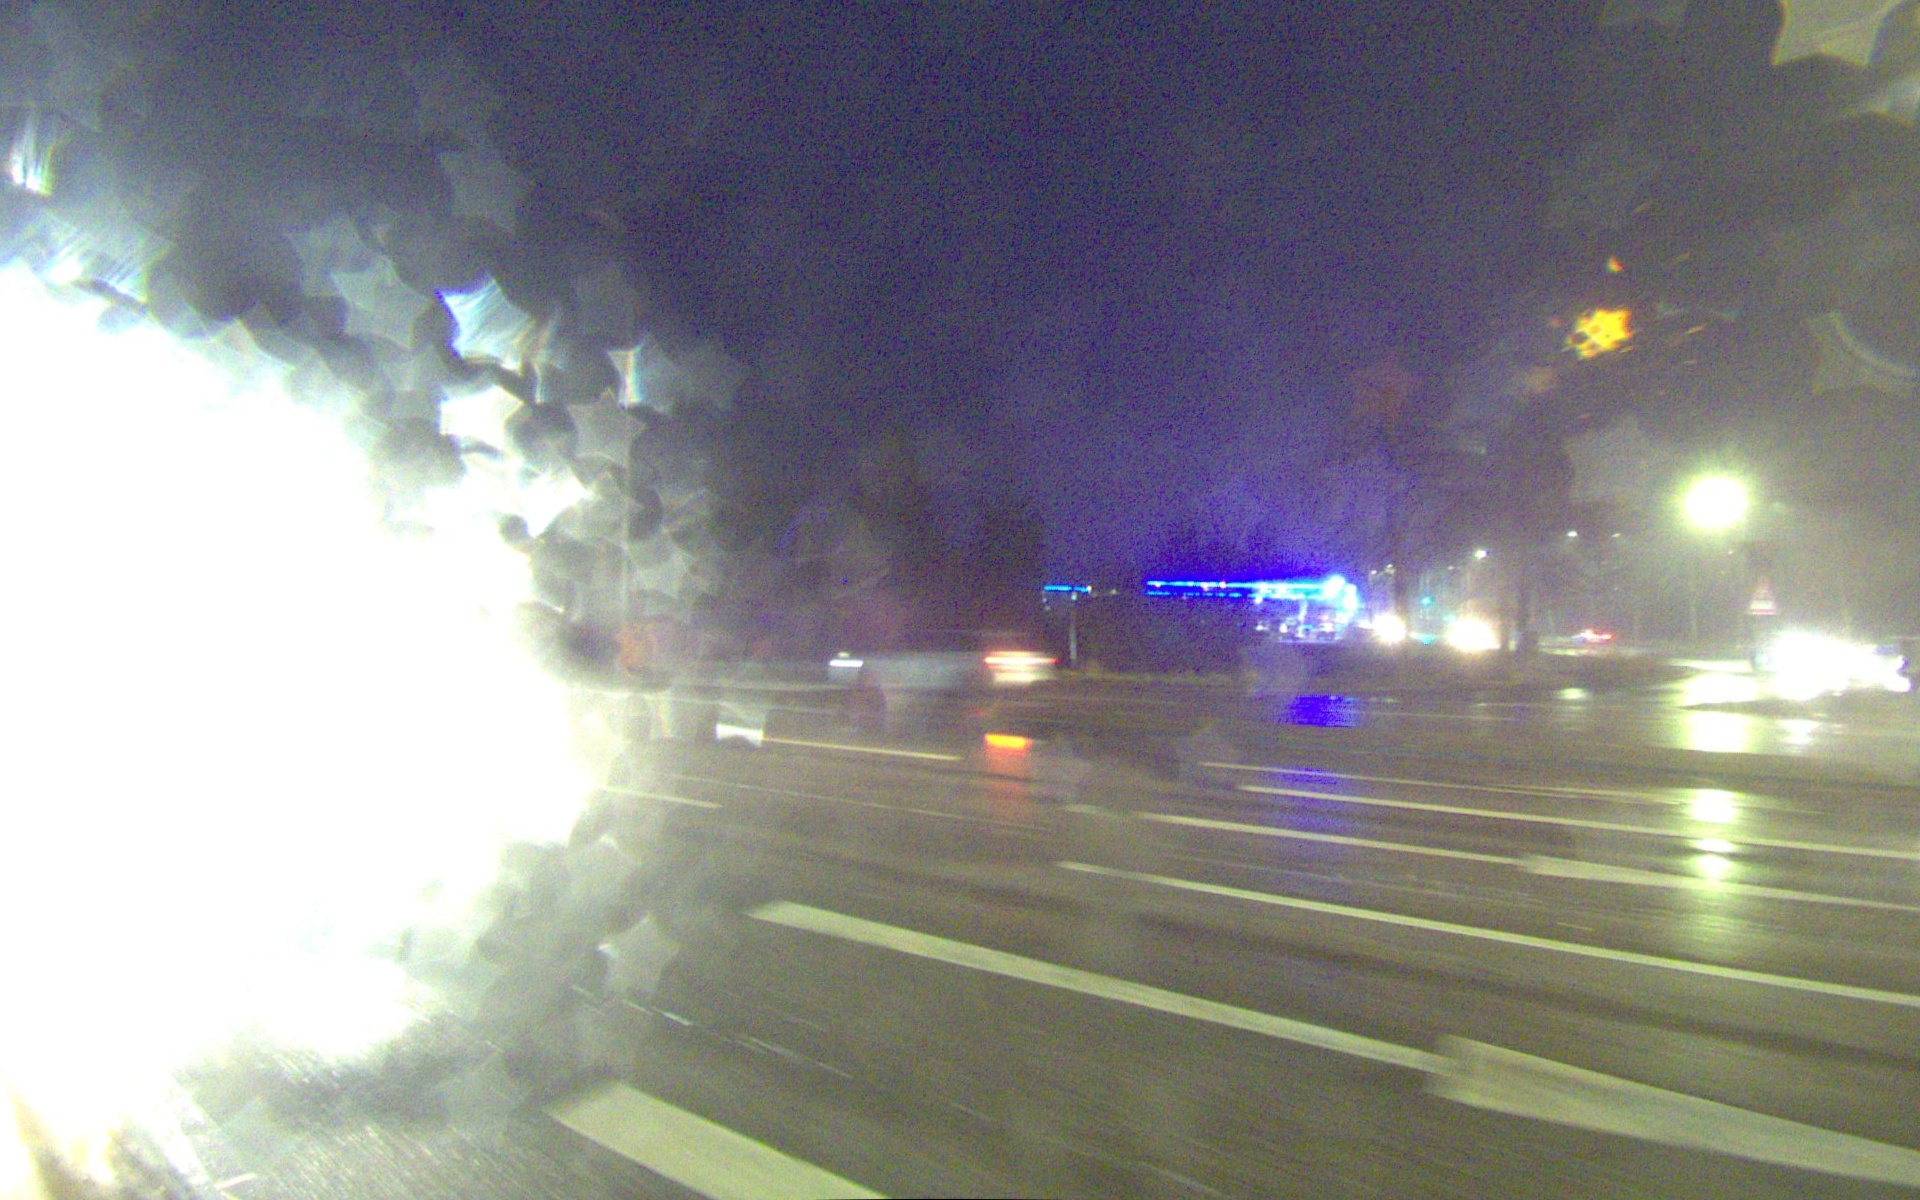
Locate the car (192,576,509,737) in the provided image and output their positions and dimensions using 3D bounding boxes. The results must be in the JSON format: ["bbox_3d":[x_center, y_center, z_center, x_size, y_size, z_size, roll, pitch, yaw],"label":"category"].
[{"bbox_3d":[-8.274,0.605,13.581,4.712,1.806,1.976,0,1,36],"label":"car"}]

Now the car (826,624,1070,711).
[{"bbox_3d":[-0.311,1.372,21.049,4.776,1.474,1.911,0,-8,34],"label":"car"}]

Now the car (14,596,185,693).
[{"bbox_3d":[-17.486,0.843,20.503,4.232,1.607,1.766,3,-1,38],"label":"car"}]

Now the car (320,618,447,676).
[{"bbox_3d":[-19.209,1.520,33.683,4.448,1.733,1.885,0,-2,34],"label":"car"}]

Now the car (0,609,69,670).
[{"bbox_3d":[-25.244,1.005,26.966,4.172,1.456,1.659,1,0,40],"label":"car"}]

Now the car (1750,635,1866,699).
[{"bbox_3d":[31.704,2.439,37.982,1.647,2.095,3.984,0,0,13],"label":"car"}]

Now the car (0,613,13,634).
[{"bbox_3d":[-85.946,2.067,90.021,4.632,1.751,1.836,1,0,38],"label":"car"}]
